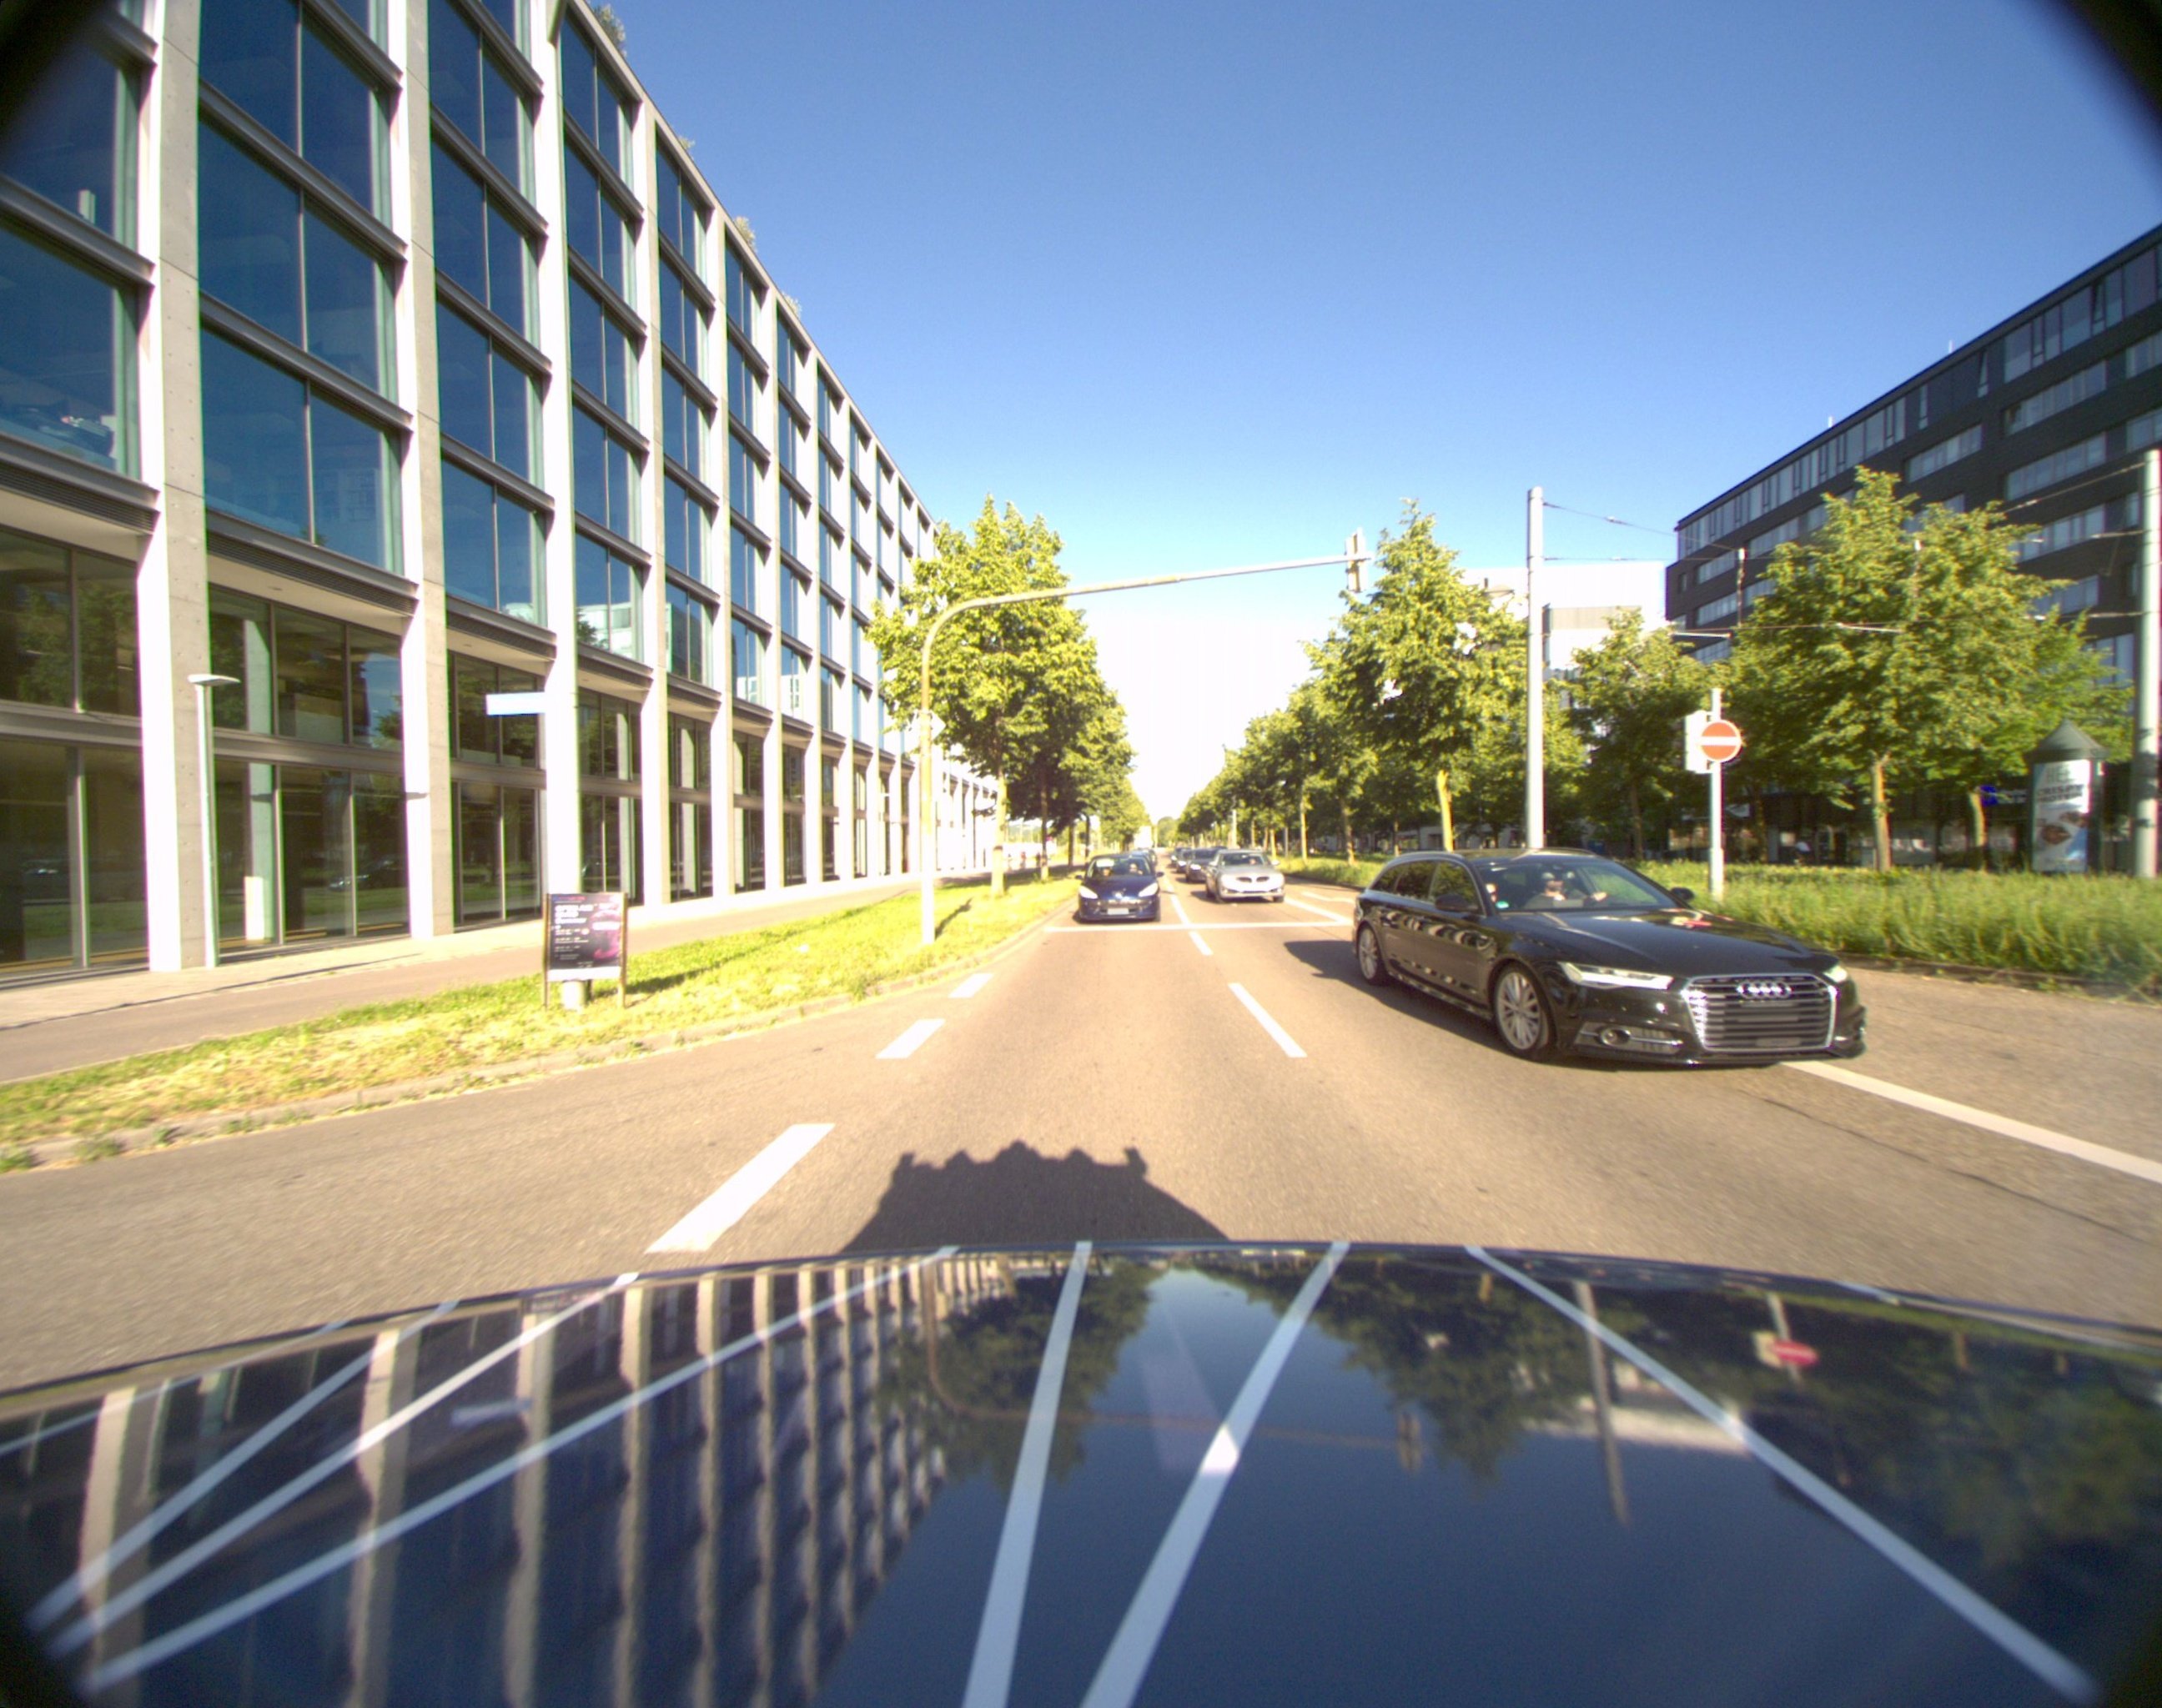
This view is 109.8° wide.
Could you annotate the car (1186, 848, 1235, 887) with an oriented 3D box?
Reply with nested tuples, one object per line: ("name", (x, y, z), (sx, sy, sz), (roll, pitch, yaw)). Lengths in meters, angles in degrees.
("car", (5.507, 0.535, 32.749), (1.812, 1.514, 4.030), (-1, 1, 6))

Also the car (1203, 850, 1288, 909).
("car", (4.688, 0.653, 22.220), (1.812, 1.480, 4.743), (-1, 1, 5))

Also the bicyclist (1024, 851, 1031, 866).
("bicyclist", (-4.718, 0.413, 67.135), (0.534, 1.282, 0.457), (-1, 2, 6))

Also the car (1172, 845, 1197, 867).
("car", (7.864, 0.124, 57.867), (1.811, 1.581, 4.166), (-1, 1, 7))

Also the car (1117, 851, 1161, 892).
("car", (2.341, 0.632, 30.128), (1.611, 1.463, 4.396), (-1, 1, 6))

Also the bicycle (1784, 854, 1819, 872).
("bicycle", (43.952, 0.509, 46.350), (0.528, 1.028, 1.848), (-1, 1, 6))

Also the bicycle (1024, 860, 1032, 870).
("bicycle", (-4.720, 0.986, 67.197), (0.464, 0.813, 1.345), (-1, 1, 6))

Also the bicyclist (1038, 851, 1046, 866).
("bicyclist", (-3.416, 0.425, 66.802), (0.534, 1.282, 0.521), (-1, 2, 6))

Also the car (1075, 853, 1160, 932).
("car", (0.915, 0.773, 17.091), (1.685, 1.514, 3.786), (-1, 1, 6))

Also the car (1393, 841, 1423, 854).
("car", (43.127, -0.895, 100.200), (2.011, 1.689, 4.792), (-1, 1, 2))

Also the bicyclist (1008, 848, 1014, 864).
("bicyclist", (-5.750, 0.144, 62.429), (0.448, 1.282, 0.418), (-1, 2, 6))

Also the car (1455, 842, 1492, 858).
("car", (41.158, -0.452, 79.828), (1.857, 1.674, 4.794), (-1, 1, 6))

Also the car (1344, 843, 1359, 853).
("car", (45.616, -1.077, 128.234), (1.601, 1.659, 3.744), (-1, 1, 6))

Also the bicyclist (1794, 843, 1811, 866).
("bicyclist", (43.939, 0.012, 46.290), (0.493, 1.398, 0.626), (-1, 2, 6))

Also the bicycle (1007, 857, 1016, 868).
("bicycle", (-5.717, 0.697, 62.441), (0.415, 0.813, 1.320), (-1, 1, 6))

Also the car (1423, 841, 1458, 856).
("car", (42.440, -0.684, 89.881), (2.011, 1.689, 4.792), (-1, 1, 2))

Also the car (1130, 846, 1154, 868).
("car", (4.631, 0.222, 57.445), (1.704, 1.591, 3.786), (-1, 1, 6))

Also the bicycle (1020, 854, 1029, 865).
("bicycle", (-4.652, 0.429, 62.224), (0.464, 0.813, 1.345), (-1, 1, 6))

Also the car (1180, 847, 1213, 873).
("car", (6.840, 0.298, 45.412), (1.811, 1.446, 4.255), (-1, 1, 7))

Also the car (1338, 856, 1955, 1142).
("car", (3.828, 0.795, 6.365), (1.812, 1.448, 4.507), (-1, 1, 0))

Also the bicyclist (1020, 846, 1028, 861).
("bicyclist", (-4.685, -0.008, 62.198), (0.534, 1.210, 0.508), (-1, 2, 6))

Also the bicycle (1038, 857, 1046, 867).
("bicycle", (-3.418, 0.670, 66.835), (0.464, 0.813, 1.345), (-1, 1, 6))
